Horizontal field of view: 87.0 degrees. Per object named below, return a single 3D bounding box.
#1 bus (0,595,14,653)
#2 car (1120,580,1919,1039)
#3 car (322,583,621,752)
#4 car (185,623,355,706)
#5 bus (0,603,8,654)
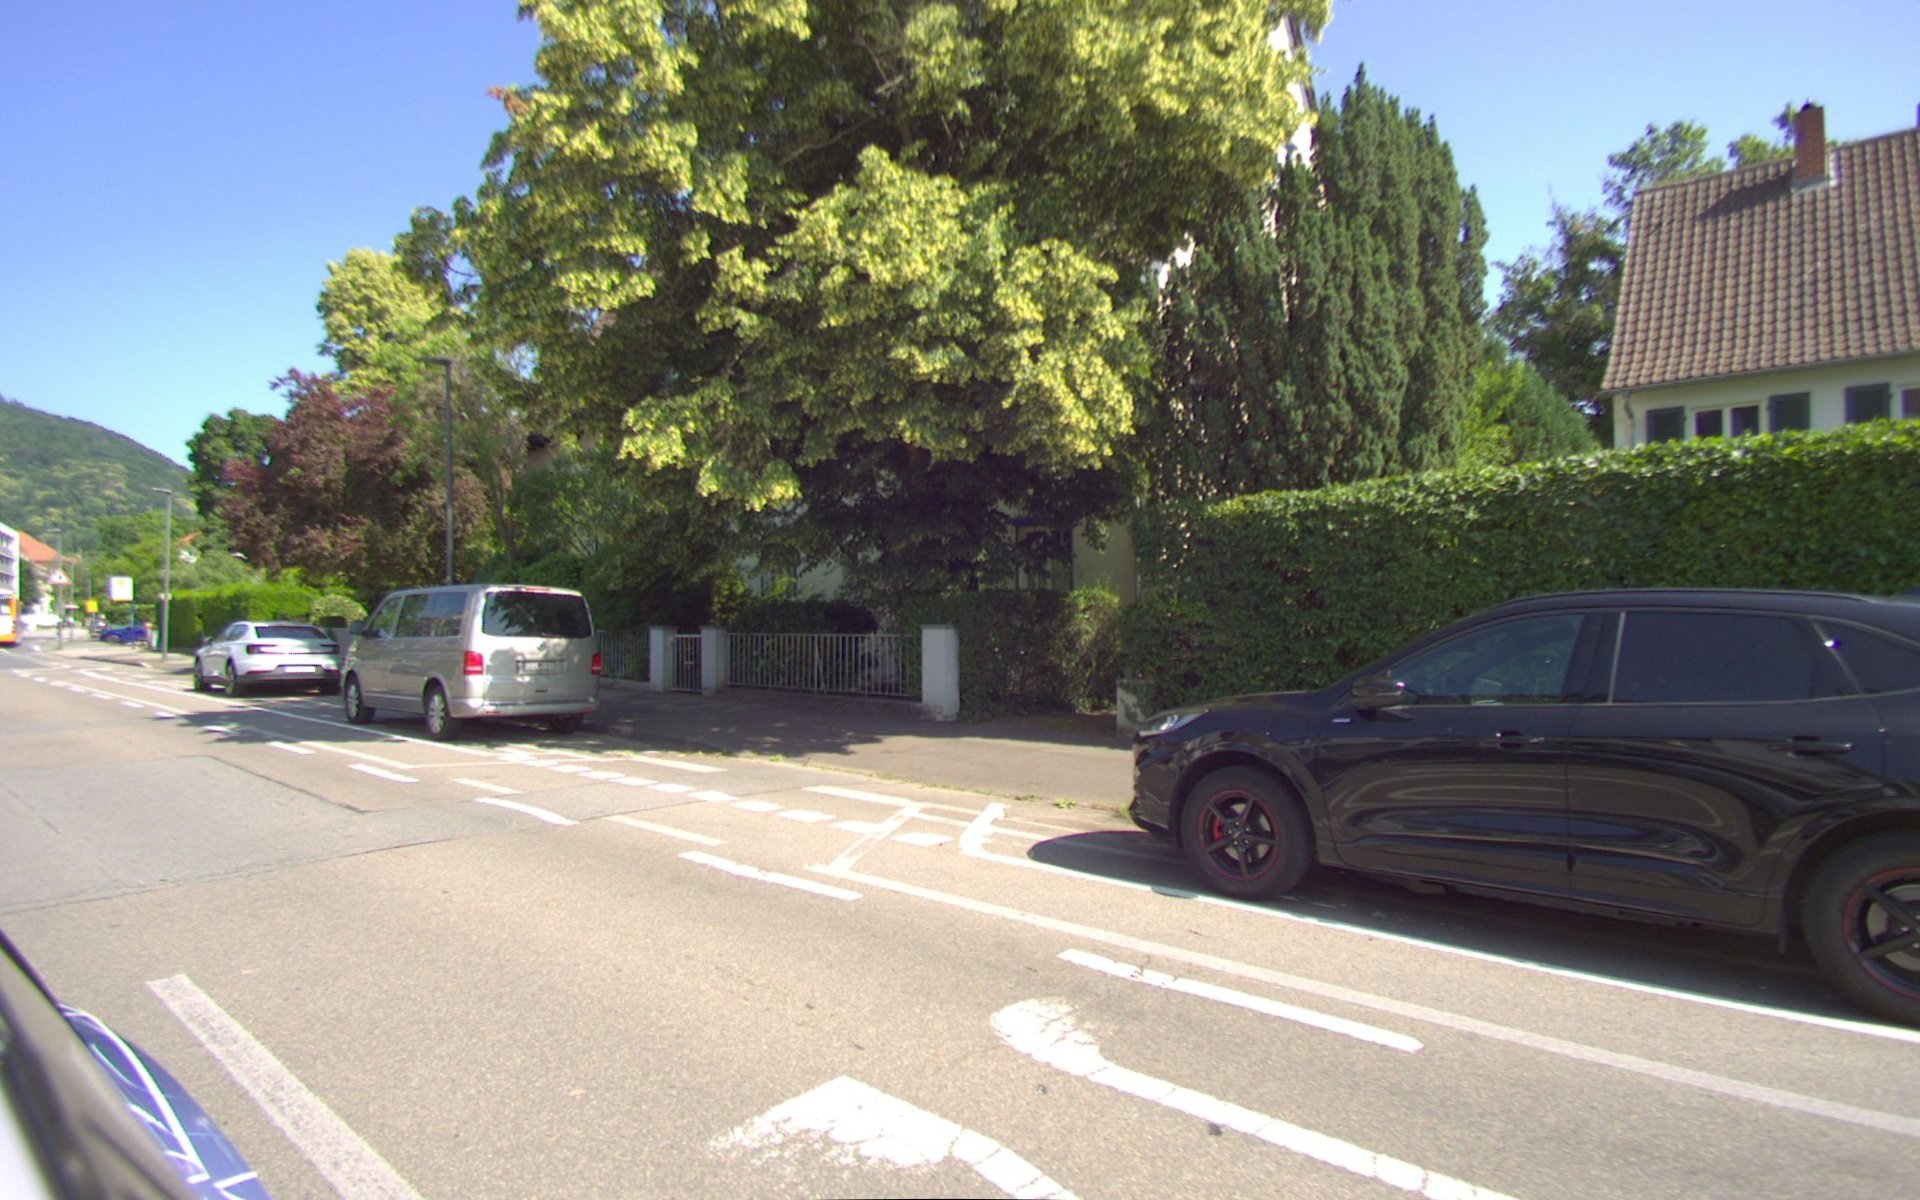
[{"bbox_3d":[-57.008,1.410,58.715,2.713,3.199,9.783,3,-3,-45],"label":"bus"},{"bbox_3d":[3.192,0.812,5.020,4.446,1.623,1.831,-1,-4,41],"label":"car"},{"bbox_3d":[-6.857,0.870,13.943,4.865,1.934,1.865,-1,-4,41],"label":"car"},{"bbox_3d":[-14.061,1.256,20.528,4.561,1.497,1.813,-2,-4,42],"label":"car"},{"bbox_3d":[-63.872,1.834,65.658,2.713,3.199,9.783,3,-3,-45],"label":"bus"}]
